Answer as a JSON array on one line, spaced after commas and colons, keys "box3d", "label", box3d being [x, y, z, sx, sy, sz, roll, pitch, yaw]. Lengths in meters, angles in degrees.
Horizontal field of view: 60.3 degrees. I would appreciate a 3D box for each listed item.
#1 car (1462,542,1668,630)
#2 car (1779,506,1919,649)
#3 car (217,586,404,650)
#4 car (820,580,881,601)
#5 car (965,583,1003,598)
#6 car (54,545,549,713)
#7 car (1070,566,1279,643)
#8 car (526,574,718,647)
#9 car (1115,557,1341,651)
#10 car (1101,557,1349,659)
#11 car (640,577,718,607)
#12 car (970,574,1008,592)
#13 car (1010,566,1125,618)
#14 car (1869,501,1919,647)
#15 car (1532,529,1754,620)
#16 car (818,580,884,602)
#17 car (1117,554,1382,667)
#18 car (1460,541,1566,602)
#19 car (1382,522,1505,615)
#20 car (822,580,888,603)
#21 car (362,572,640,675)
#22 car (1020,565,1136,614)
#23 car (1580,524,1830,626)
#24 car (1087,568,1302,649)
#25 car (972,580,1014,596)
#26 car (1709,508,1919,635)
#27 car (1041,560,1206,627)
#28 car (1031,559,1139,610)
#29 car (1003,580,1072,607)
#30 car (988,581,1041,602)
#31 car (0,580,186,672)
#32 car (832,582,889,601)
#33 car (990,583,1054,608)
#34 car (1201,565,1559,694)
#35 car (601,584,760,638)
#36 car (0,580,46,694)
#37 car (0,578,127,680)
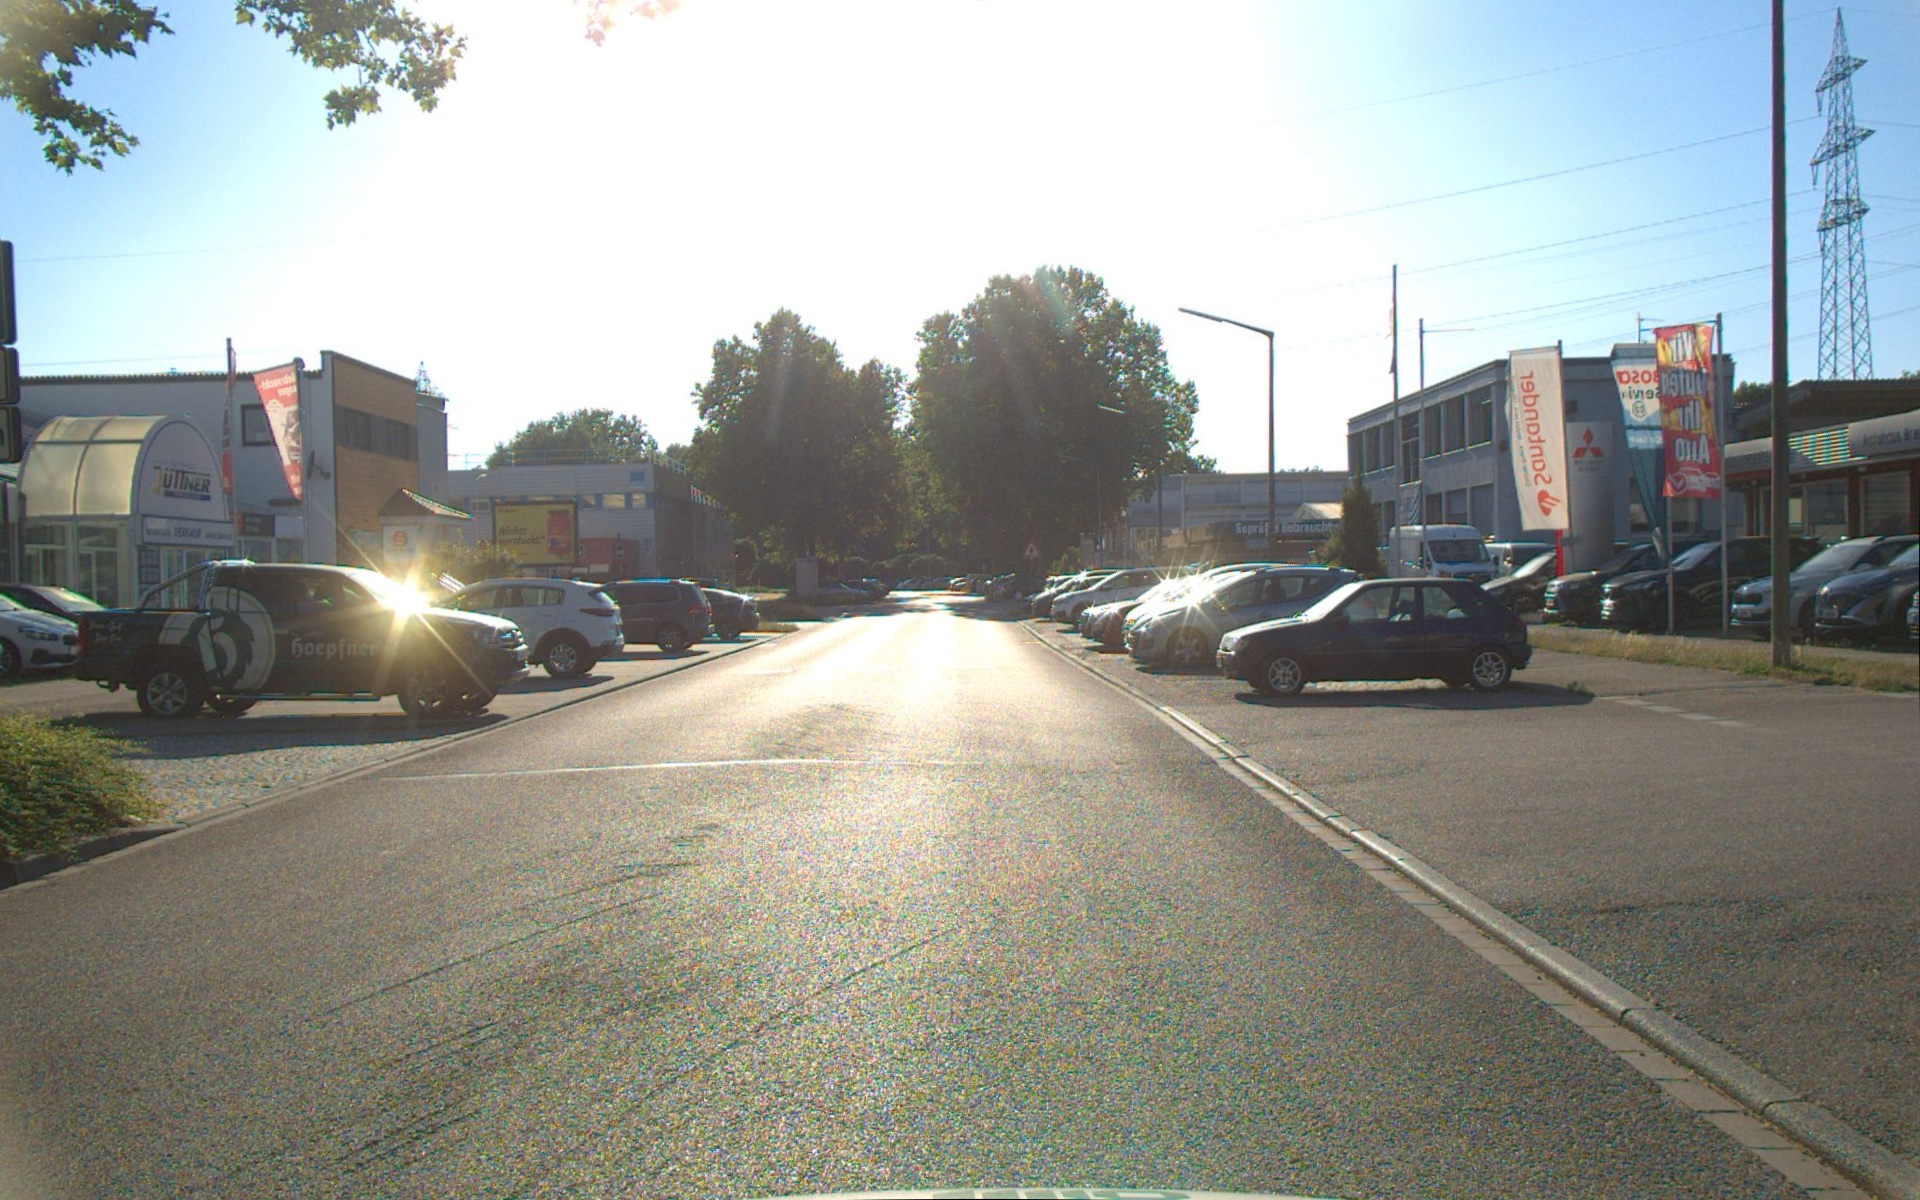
[{"box3d": [14.182, -0.325, 38.941, 4.060, 1.802, 2.000, -3, 0, 0], "label": "car"}, {"box3d": [14.574, -0.438, 24.462, 3.723, 1.931, 2.202, -5, 1, -1], "label": "car"}, {"box3d": [-16.318, 0.443, 41.672, 3.905, 1.583, 2.000, 0, 0, -1], "label": "car"}, {"box3d": [-8.081, -0.670, 121.922, 4.324, 1.543, 2.000, 0, 0, 1], "label": "car"}, {"box3d": [2.451, -0.938, 172.506, 3.906, 1.440, 1.827, -2, 0, -1], "label": "car"}, {"box3d": [-7.885, 0.342, 20.248, 5.152, 1.932, 2.201, 0, 0, -1], "label": "car"}, {"box3d": [4.768, 0.096, 37.219, 4.347, 1.461, 2.135, -3, 0, -1], "label": "car"}, {"box3d": [-7.935, 0.249, 39.150, 4.146, 1.684, 2.200, 0, 0, -3], "label": "car"}, {"box3d": [5.168, 0.081, 32.240, 4.028, 1.770, 1.882, 0, 0, -4], "label": "car"}, {"box3d": [4.735, 0.133, 29.957, 4.028, 1.646, 2.057, -2, 0, -4], "label": "car"}, {"box3d": [-17.418, -0.491, 102.431, 4.554, 1.771, 1.991, 0, 0, -17], "label": "car"}, {"box3d": [3.100, -1.814, 175.819, 3.906, 1.808, 1.827, -2, 0, -1], "label": "car"}, {"box3d": [3.836, -0.279, 58.685, 3.902, 1.641, 2.001, -3, 0, 7], "label": "car"}, {"box3d": [14.631, -0.367, 22.002, 3.853, 1.931, 2.202, -1, 3, -1], "label": "car"}, {"box3d": [14.638, -0.536, 35.605, 3.906, 1.688, 2.000, -3, 0, 0], "label": "car"}, {"box3d": [-7.208, -0.605, 109.213, 4.330, 1.427, 1.998, 0, 0, -6], "label": "car"}, {"box3d": [4.707, 0.160, 27.241, 3.909, 1.615, 1.866, -3, 0, -4], "label": "car"}, {"box3d": [17.165, -0.853, 51.497, 1.953, 1.830, 4.000, 0, 0, 0], "label": "car"}, {"box3d": [14.748, -0.903, 50.868, 1.953, 2.671, 6.136, 0, 0, 0], "label": "car"}, {"box3d": [-7.057, -0.584, 111.671, 4.326, 1.543, 1.999, 0, 0, -2], "label": "car"}, {"box3d": [-7.794, 0.393, 28.464, 4.217, 1.685, 2.200, 0, 0, -3], "label": "car"}, {"box3d": [4.750, -0.434, 66.925, 4.435, 1.702, 1.752, -3, 0, -4], "label": "car"}, {"box3d": [14.445, -0.469, 32.223, 3.906, 1.726, 2.000, -3, 0, 0], "label": "car"}, {"box3d": [4.858, 0.175, 34.509, 4.161, 1.633, 1.743, 0, 0, -7], "label": "car"}, {"box3d": [3.166, -1.122, 159.708, 3.906, 1.440, 1.827, -2, 0, -1], "label": "car"}, {"box3d": [14.563, -0.443, 26.995, 3.823, 1.932, 1.786, -1, -2, -1], "label": "car"}, {"box3d": [4.779, -0.183, 48.761, 4.465, 1.625, 2.200, -4, 0, -3], "label": "car"}, {"box3d": [4.813, -0.603, 64.107, 3.908, 1.681, 1.741, -4, 0, -3], "label": "car"}, {"box3d": [4.541, -0.370, 96.900, 3.906, 1.440, 2.000, -2, 0, -1], "label": "car"}, {"box3d": [4.079, -0.635, 125.119, 3.906, 1.440, 1.827, -2, 0, -1], "label": "car"}, {"box3d": [-16.453, 0.452, 29.514, 4.374, 1.580, 1.836, 0, 0, -2], "label": "car"}, {"box3d": [-7.949, -0.671, 132.378, 4.324, 1.543, 2.000, 0, 0, 1], "label": "car"}, {"box3d": [3.899, -0.299, 104.236, 3.906, 1.440, 1.827, -2, 0, -1], "label": "car"}, {"box3d": [5.009, 0.339, 20.154, 3.904, 1.319, 1.784, -3, 0, 2], "label": "car"}, {"box3d": [-7.915, 0.310, 47.134, 4.227, 1.485, 2.200, 0, 0, -3], "label": "car"}, {"box3d": [-16.400, 0.538, 24.452, 4.623, 1.671, 1.999, 0, 0, -2], "label": "car"}, {"box3d": [-16.411, 0.452, 27.040, 4.567, 1.620, 1.928, 0, 0, -2], "label": "car"}]
